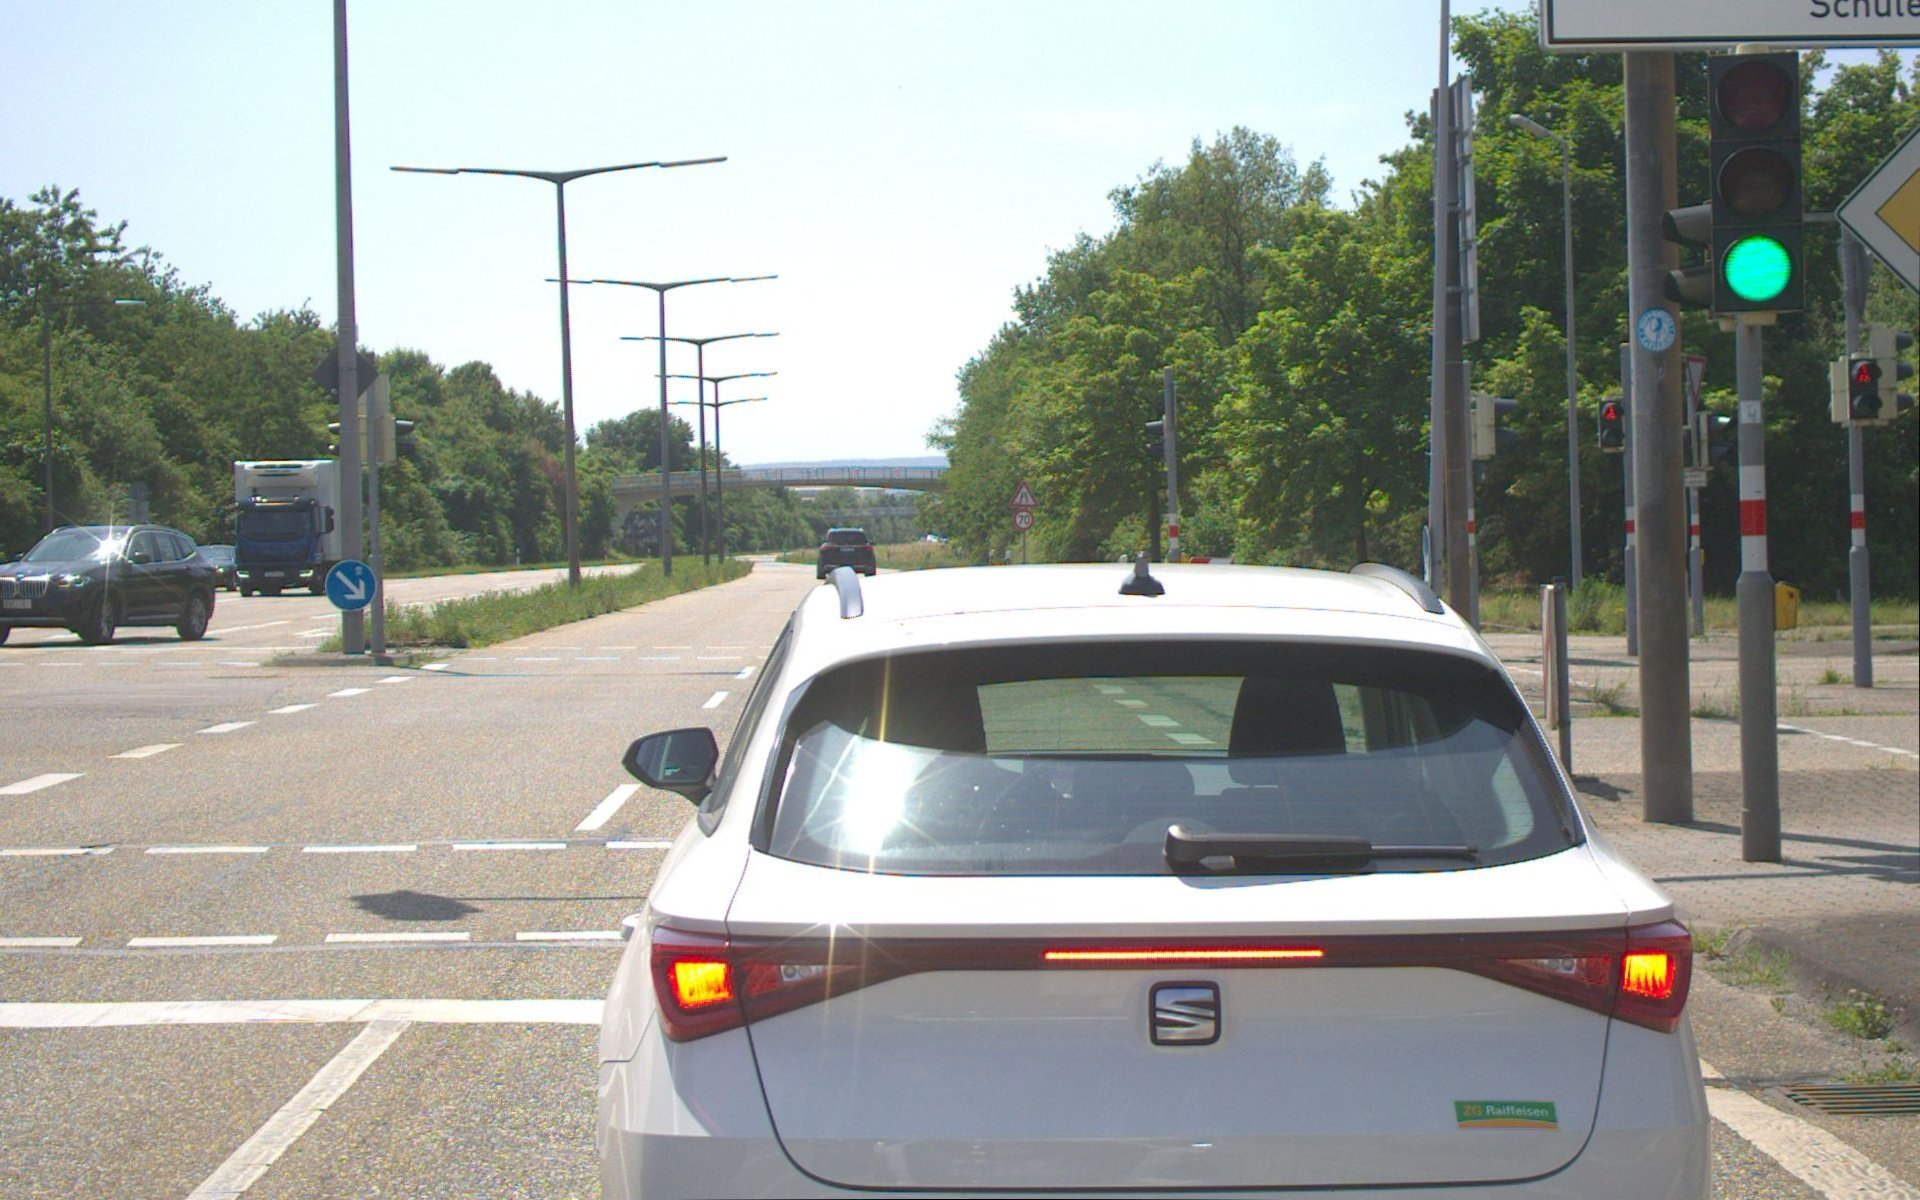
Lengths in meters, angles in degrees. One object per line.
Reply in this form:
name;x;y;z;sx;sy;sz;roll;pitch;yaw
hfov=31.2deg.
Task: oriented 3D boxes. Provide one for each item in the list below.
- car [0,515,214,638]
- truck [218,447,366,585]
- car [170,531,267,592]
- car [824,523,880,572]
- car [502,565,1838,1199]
car;-12.280;-0.368;49.156;1.707;1.657;4.221;-1;1;9
truck;-17.899;-2.265;92.569;2.687;3.558;7.268;0;1;-1
car;-21.819;-1.154;101.338;1.822;1.726;4.926;-1;1;-1
car;-3.872;-1.906;123.066;1.854;1.703;4.001;-1;1;-4
car;0.250;0.660;6.337;1.734;1.423;3.695;1;1;-1
